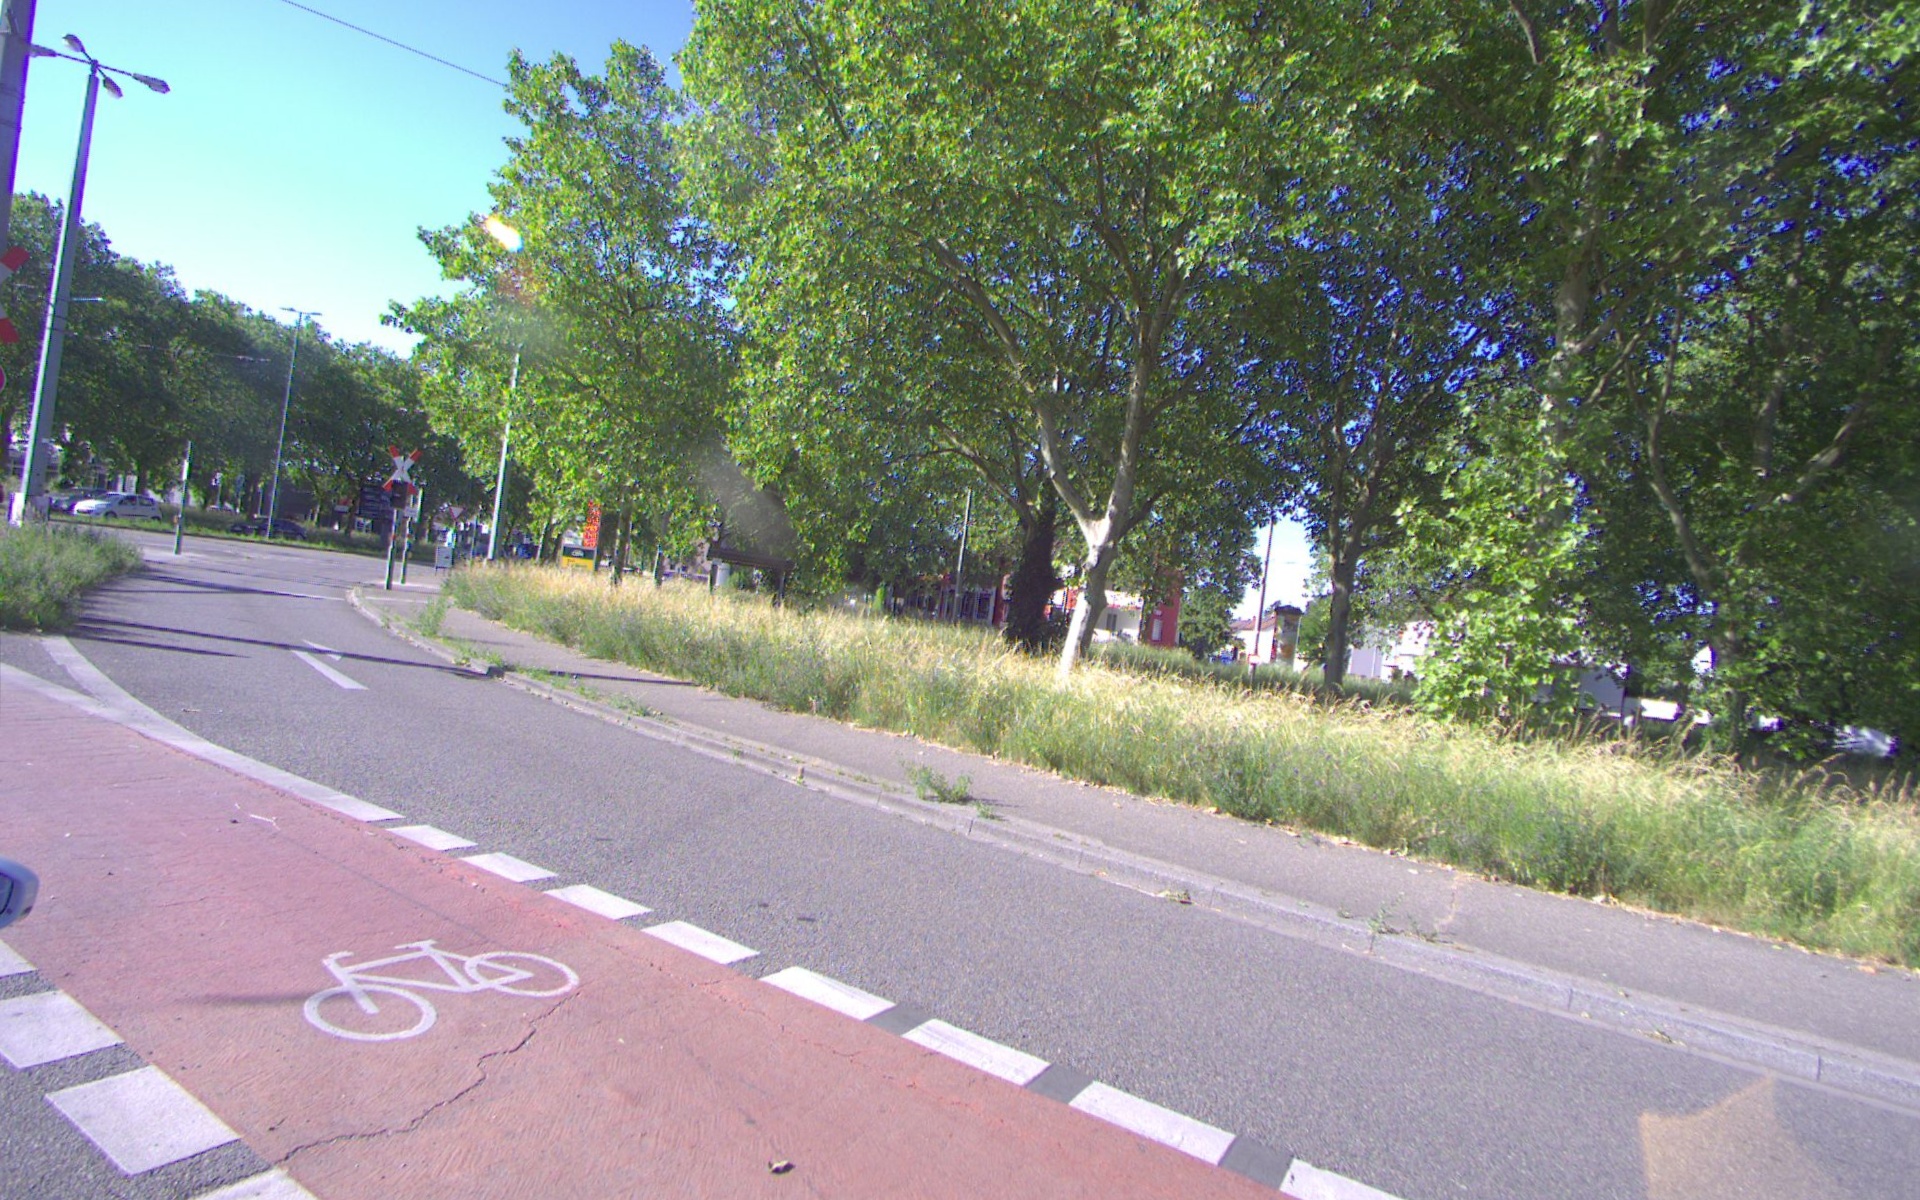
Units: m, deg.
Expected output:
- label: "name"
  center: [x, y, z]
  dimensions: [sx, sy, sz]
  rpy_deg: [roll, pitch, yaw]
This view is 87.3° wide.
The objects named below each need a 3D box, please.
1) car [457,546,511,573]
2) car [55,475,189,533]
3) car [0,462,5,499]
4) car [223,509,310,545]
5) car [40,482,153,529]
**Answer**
- label: "car"
  center: [-35.210, -2.981, 74.512]
  dimensions: [1.562, 1.563, 3.986]
  rpy_deg: [7, -1, 7]
- label: "car"
  center: [-41.494, -4.713, 49.988]
  dimensions: [1.962, 2.038, 4.907]
  rpy_deg: [7, -1, 9]
- label: "car"
  center: [-42.191, -5.271, 41.363]
  dimensions: [1.575, 1.549, 4.002]
  rpy_deg: [8, 0, 9]
- label: "car"
  center: [-43.331, -4.523, 62.966]
  dimensions: [1.661, 1.593, 4.528]
  rpy_deg: [7, -1, 9]
- label: "car"
  center: [-44.440, -4.835, 51.883]
  dimensions: [1.845, 1.596, 4.006]
  rpy_deg: [7, -2, 11]
